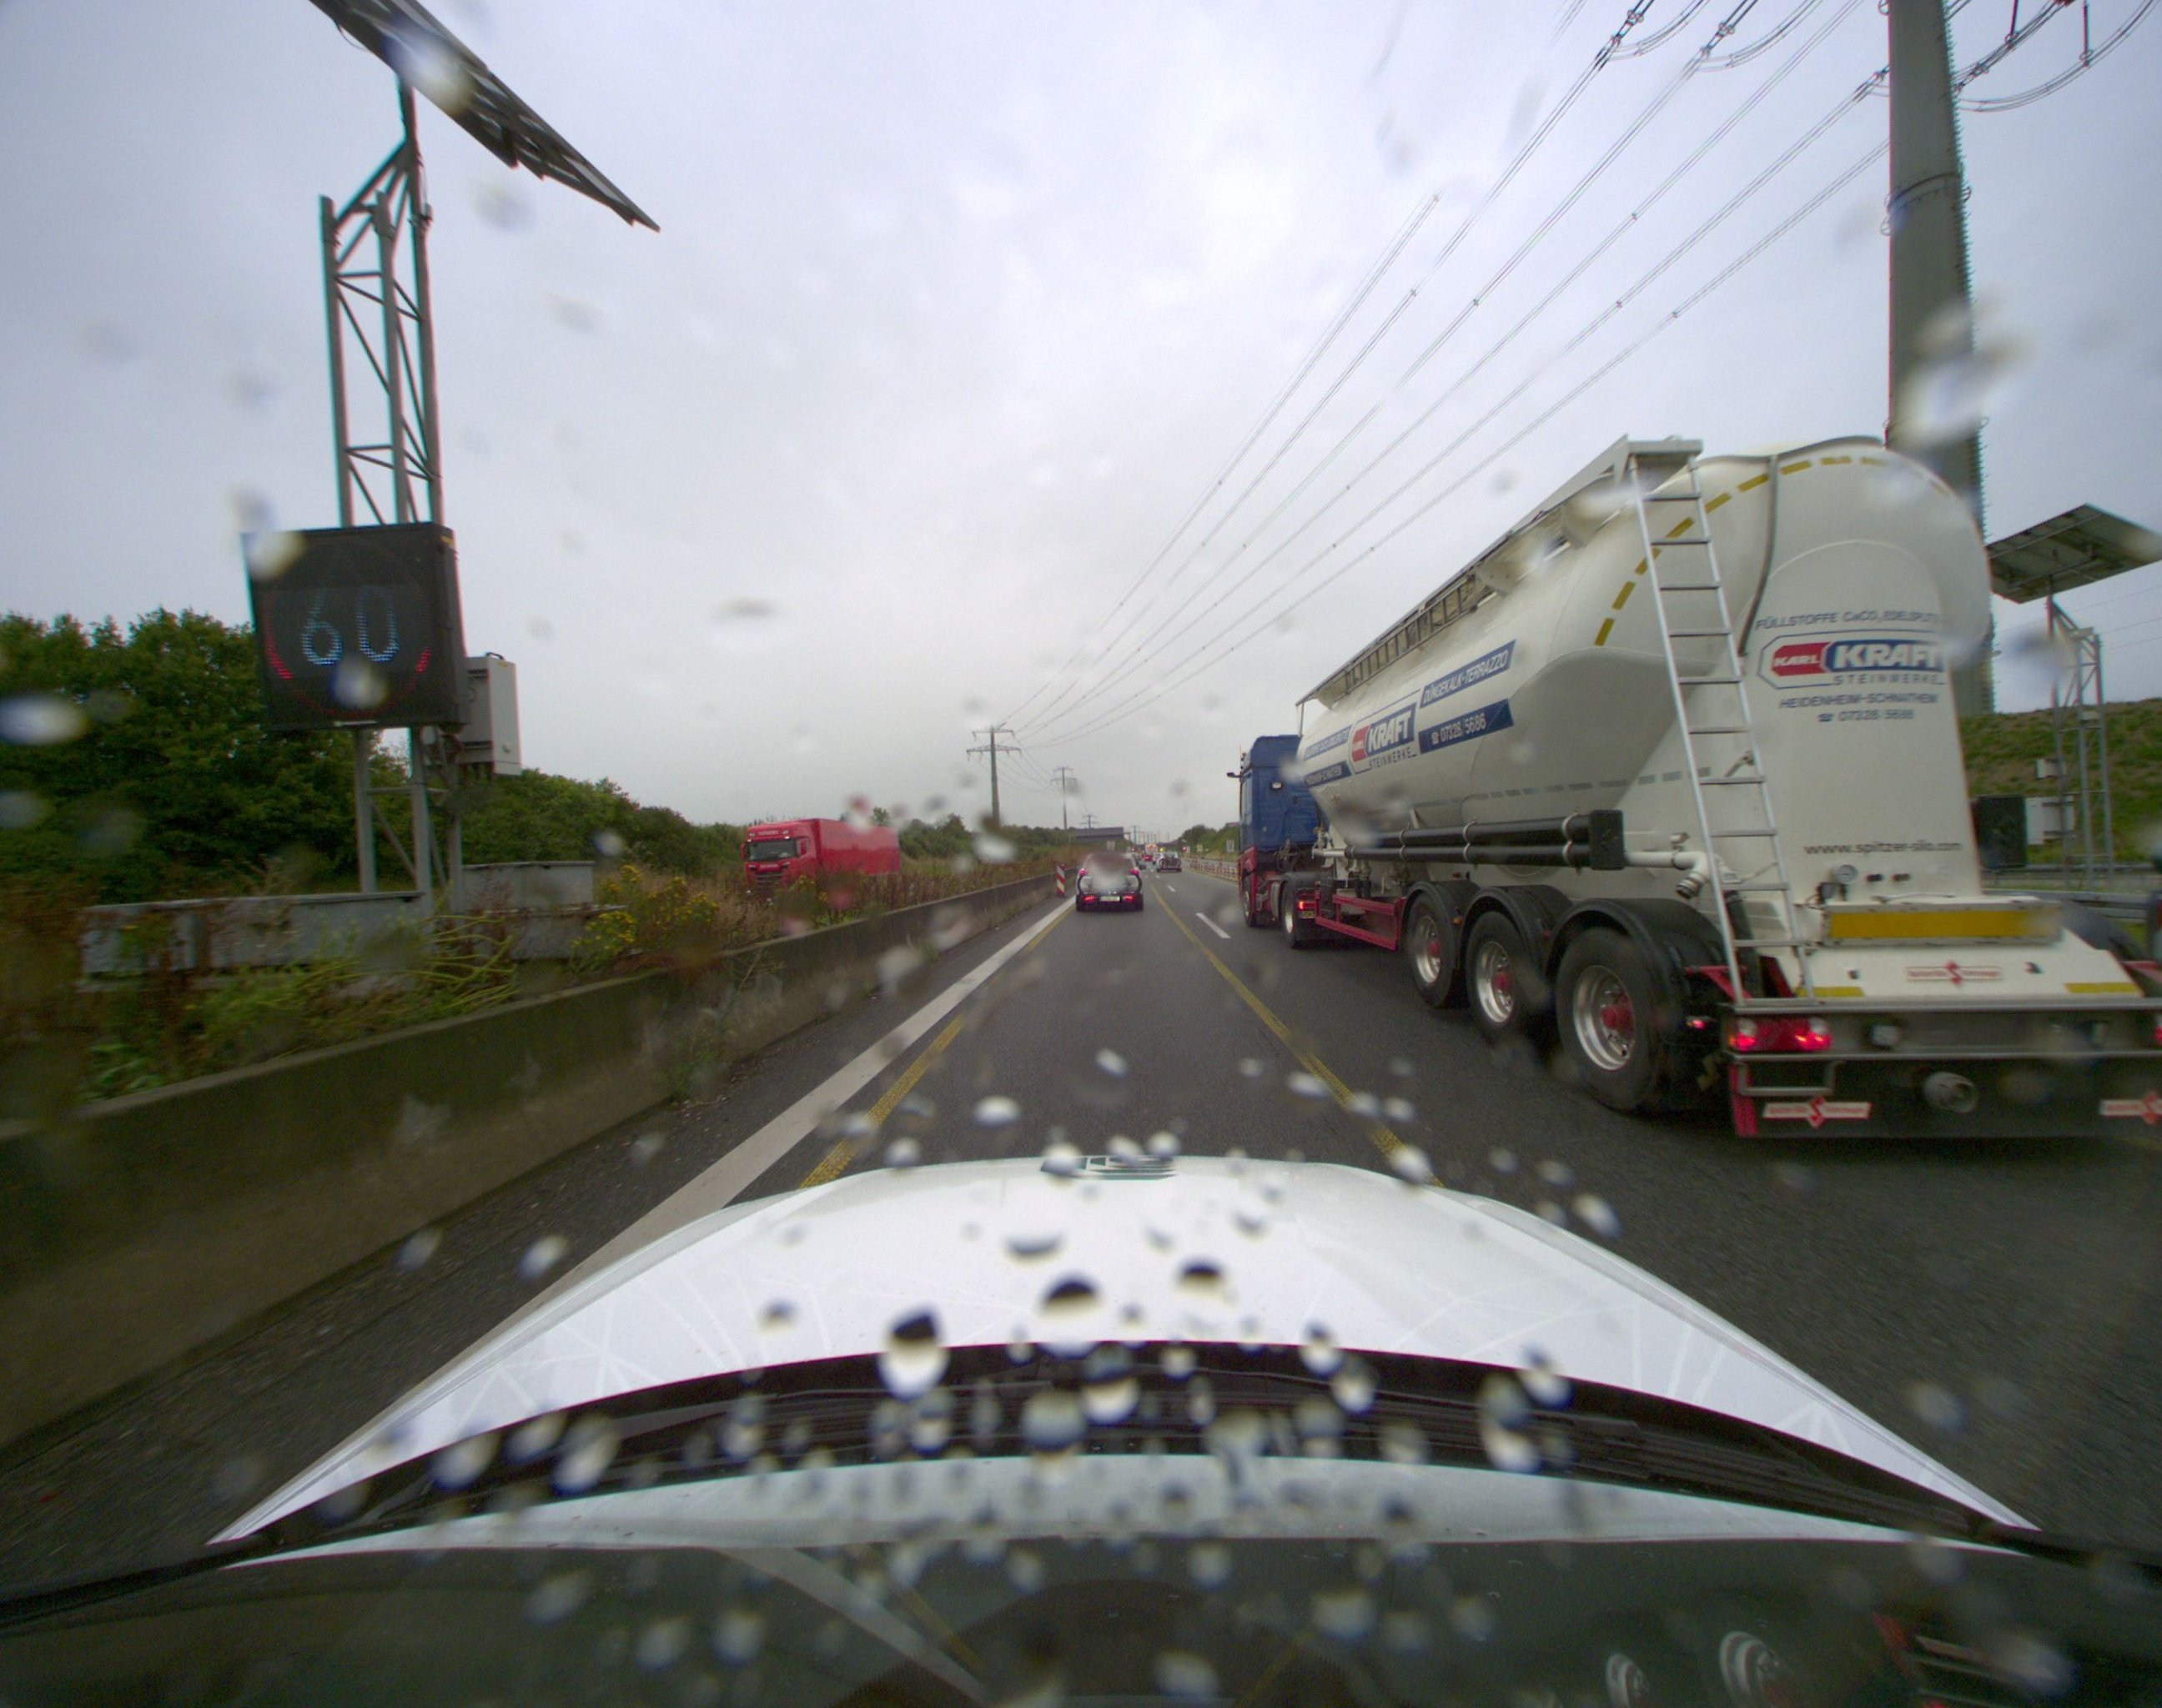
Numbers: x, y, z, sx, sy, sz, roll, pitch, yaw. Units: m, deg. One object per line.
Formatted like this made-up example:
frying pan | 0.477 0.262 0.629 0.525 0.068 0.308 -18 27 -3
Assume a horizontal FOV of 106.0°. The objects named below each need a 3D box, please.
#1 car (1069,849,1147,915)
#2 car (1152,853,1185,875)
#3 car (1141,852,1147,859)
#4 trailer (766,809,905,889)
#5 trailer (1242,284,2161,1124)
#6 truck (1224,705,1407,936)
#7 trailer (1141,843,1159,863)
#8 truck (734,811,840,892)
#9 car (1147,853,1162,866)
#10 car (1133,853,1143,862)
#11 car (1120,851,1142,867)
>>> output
car | 0.778 0.700 22.652 1.920 1.611 4.598 -1 0 3
car | 6.946 0.777 64.877 2.039 1.596 5.801 -1 0 0
car | 18.654 0.446 241.722 1.646 2.013 4.005 -1 0 4
trailer | -13.304 -0.166 46.076 3.025 3.814 13.985 -1 -1 2
trailer | 4.254 -0.628 9.904 2.510 3.834 12.355 -1 -1 2
truck | 4.381 -0.546 16.000 2.537 3.947 4.002 -1 -1 2
trailer | 13.555 -0.132 160.034 2.629 3.893 10.542 -1 -1 0
truck | -13.655 -0.065 38.308 3.012 3.531 4.929 -1 -1 2
car | 9.608 0.709 107.182 1.862 1.535 4.201 -2 0 4
car | 13.264 0.728 188.832 1.987 2.014 4.000 -1 -1 0
car | 5.062 0.513 82.967 1.987 1.584 4.000 -1 0 0
